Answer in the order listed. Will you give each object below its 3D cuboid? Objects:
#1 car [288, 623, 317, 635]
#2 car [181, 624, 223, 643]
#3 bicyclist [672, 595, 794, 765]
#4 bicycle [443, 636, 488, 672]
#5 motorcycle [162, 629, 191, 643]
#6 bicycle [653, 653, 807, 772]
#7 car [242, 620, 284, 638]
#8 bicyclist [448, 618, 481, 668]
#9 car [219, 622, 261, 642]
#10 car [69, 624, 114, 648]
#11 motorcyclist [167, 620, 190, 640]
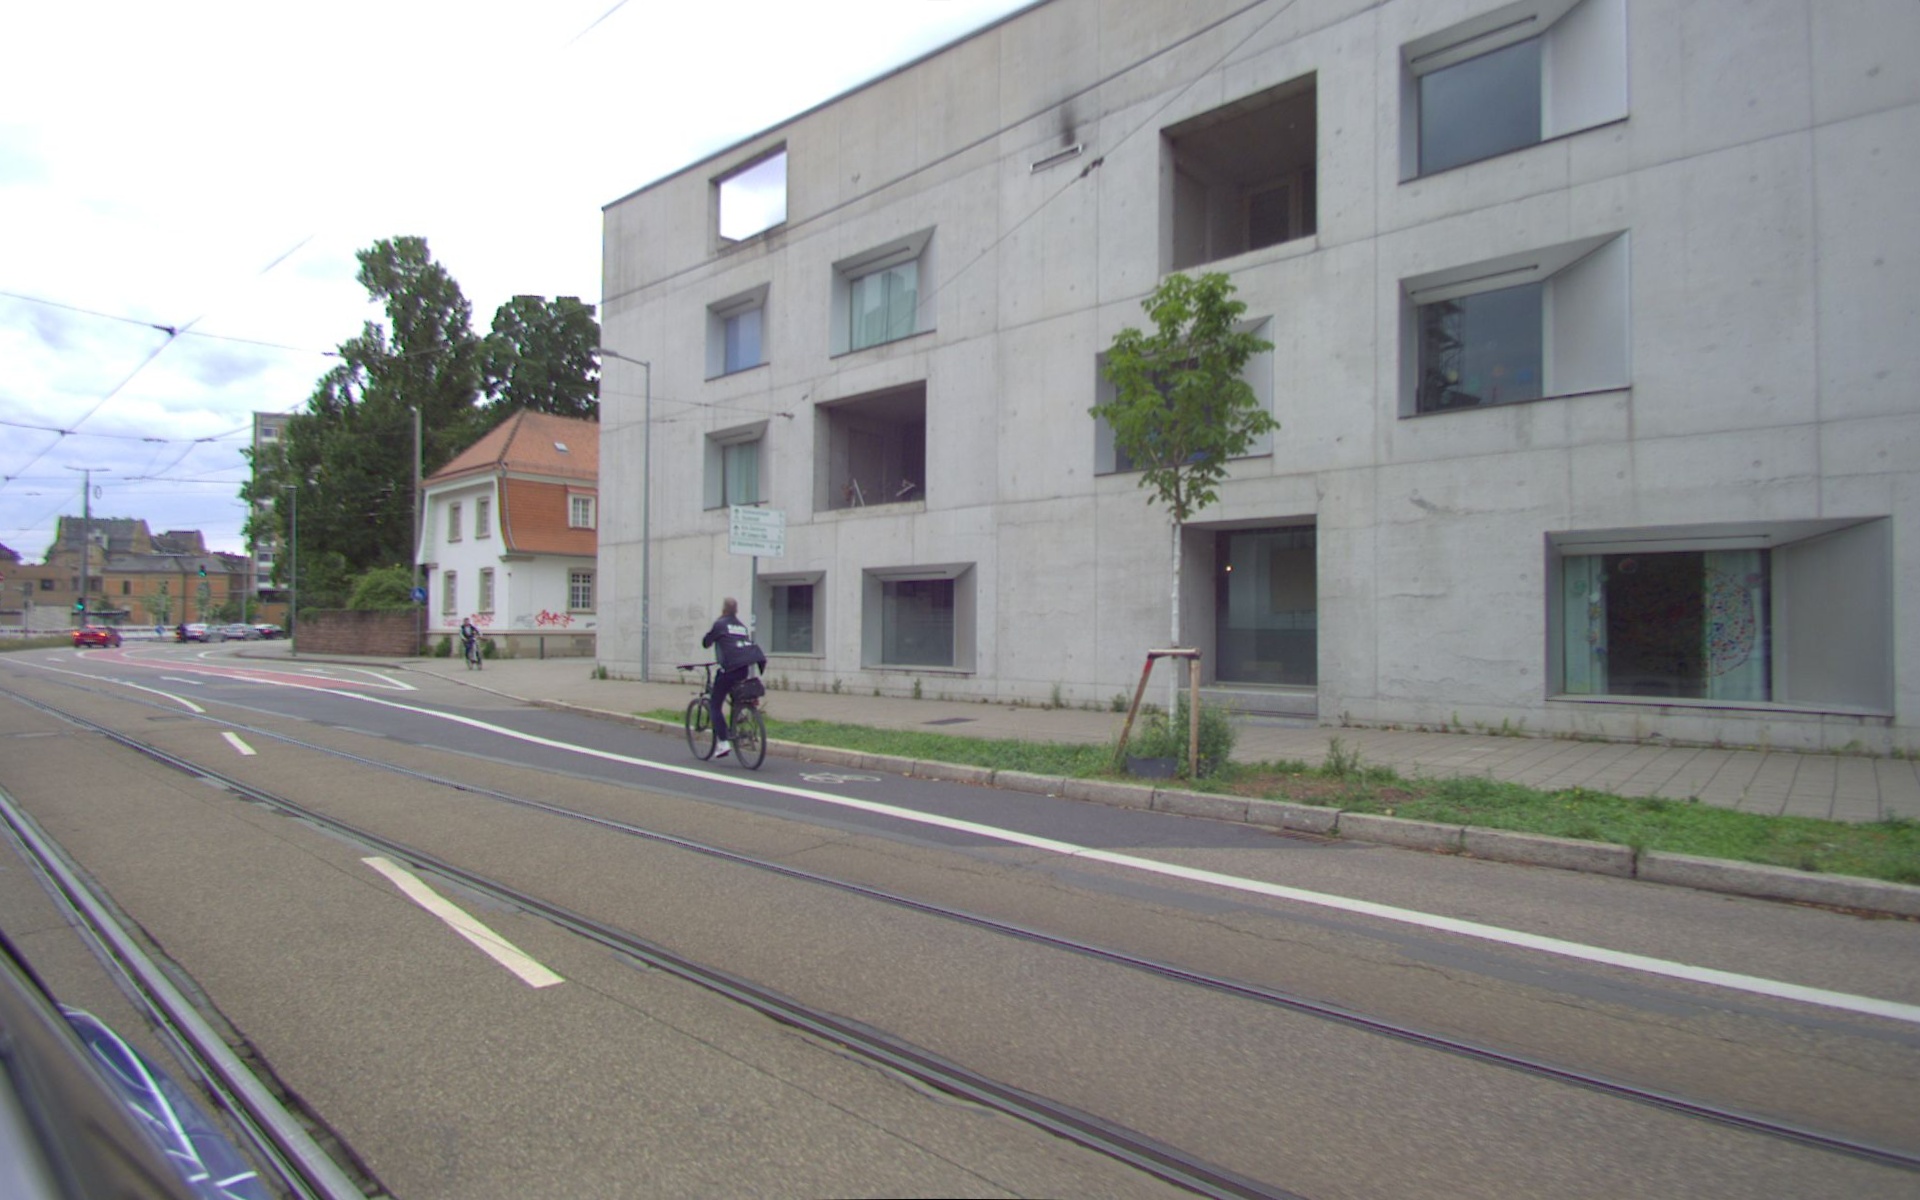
[{"bbox_3d":[-65.401,2.917,100.707,1.400,1.180,3.078,1,-2,-12],"label":"car"},{"bbox_3d":[-61.173,2.687,81.708,1.469,1.520,3.479,1,-2,-15],"label":"car"},{"bbox_3d":[-2.567,0.890,11.431,0.782,1.797,1.149,7,-6,-41],"label":"bicyclist"},{"bbox_3d":[-17.309,1.880,35.404,1.868,1.221,0.765,-2,-3,42],"label":"bicycle"},{"bbox_3d":[-59.919,2.745,77.399,1.038,1.077,2.657,1,-2,-22],"label":"motorcycle"},{"bbox_3d":[-2.642,1.234,11.488,0.782,1.195,2.013,6,-5,-41],"label":"bicycle"},{"bbox_3d":[-64.921,2.662,94.340,1.757,1.623,4.335,1,-2,-14],"label":"car"},{"bbox_3d":[-17.354,1.503,35.453,0.868,1.703,0.765,-2,-3,42],"label":"bicyclist"},{"bbox_3d":[-63.296,2.818,89.045,1.658,1.663,3.991,1,-2,-14],"label":"car"},{"bbox_3d":[-56.505,2.329,65.892,1.732,1.511,4.010,3,-3,-35],"label":"car"},{"bbox_3d":[-60.141,2.326,77.884,1.058,1.497,1.255,1,-2,-21],"label":"motorcyclist"}]
